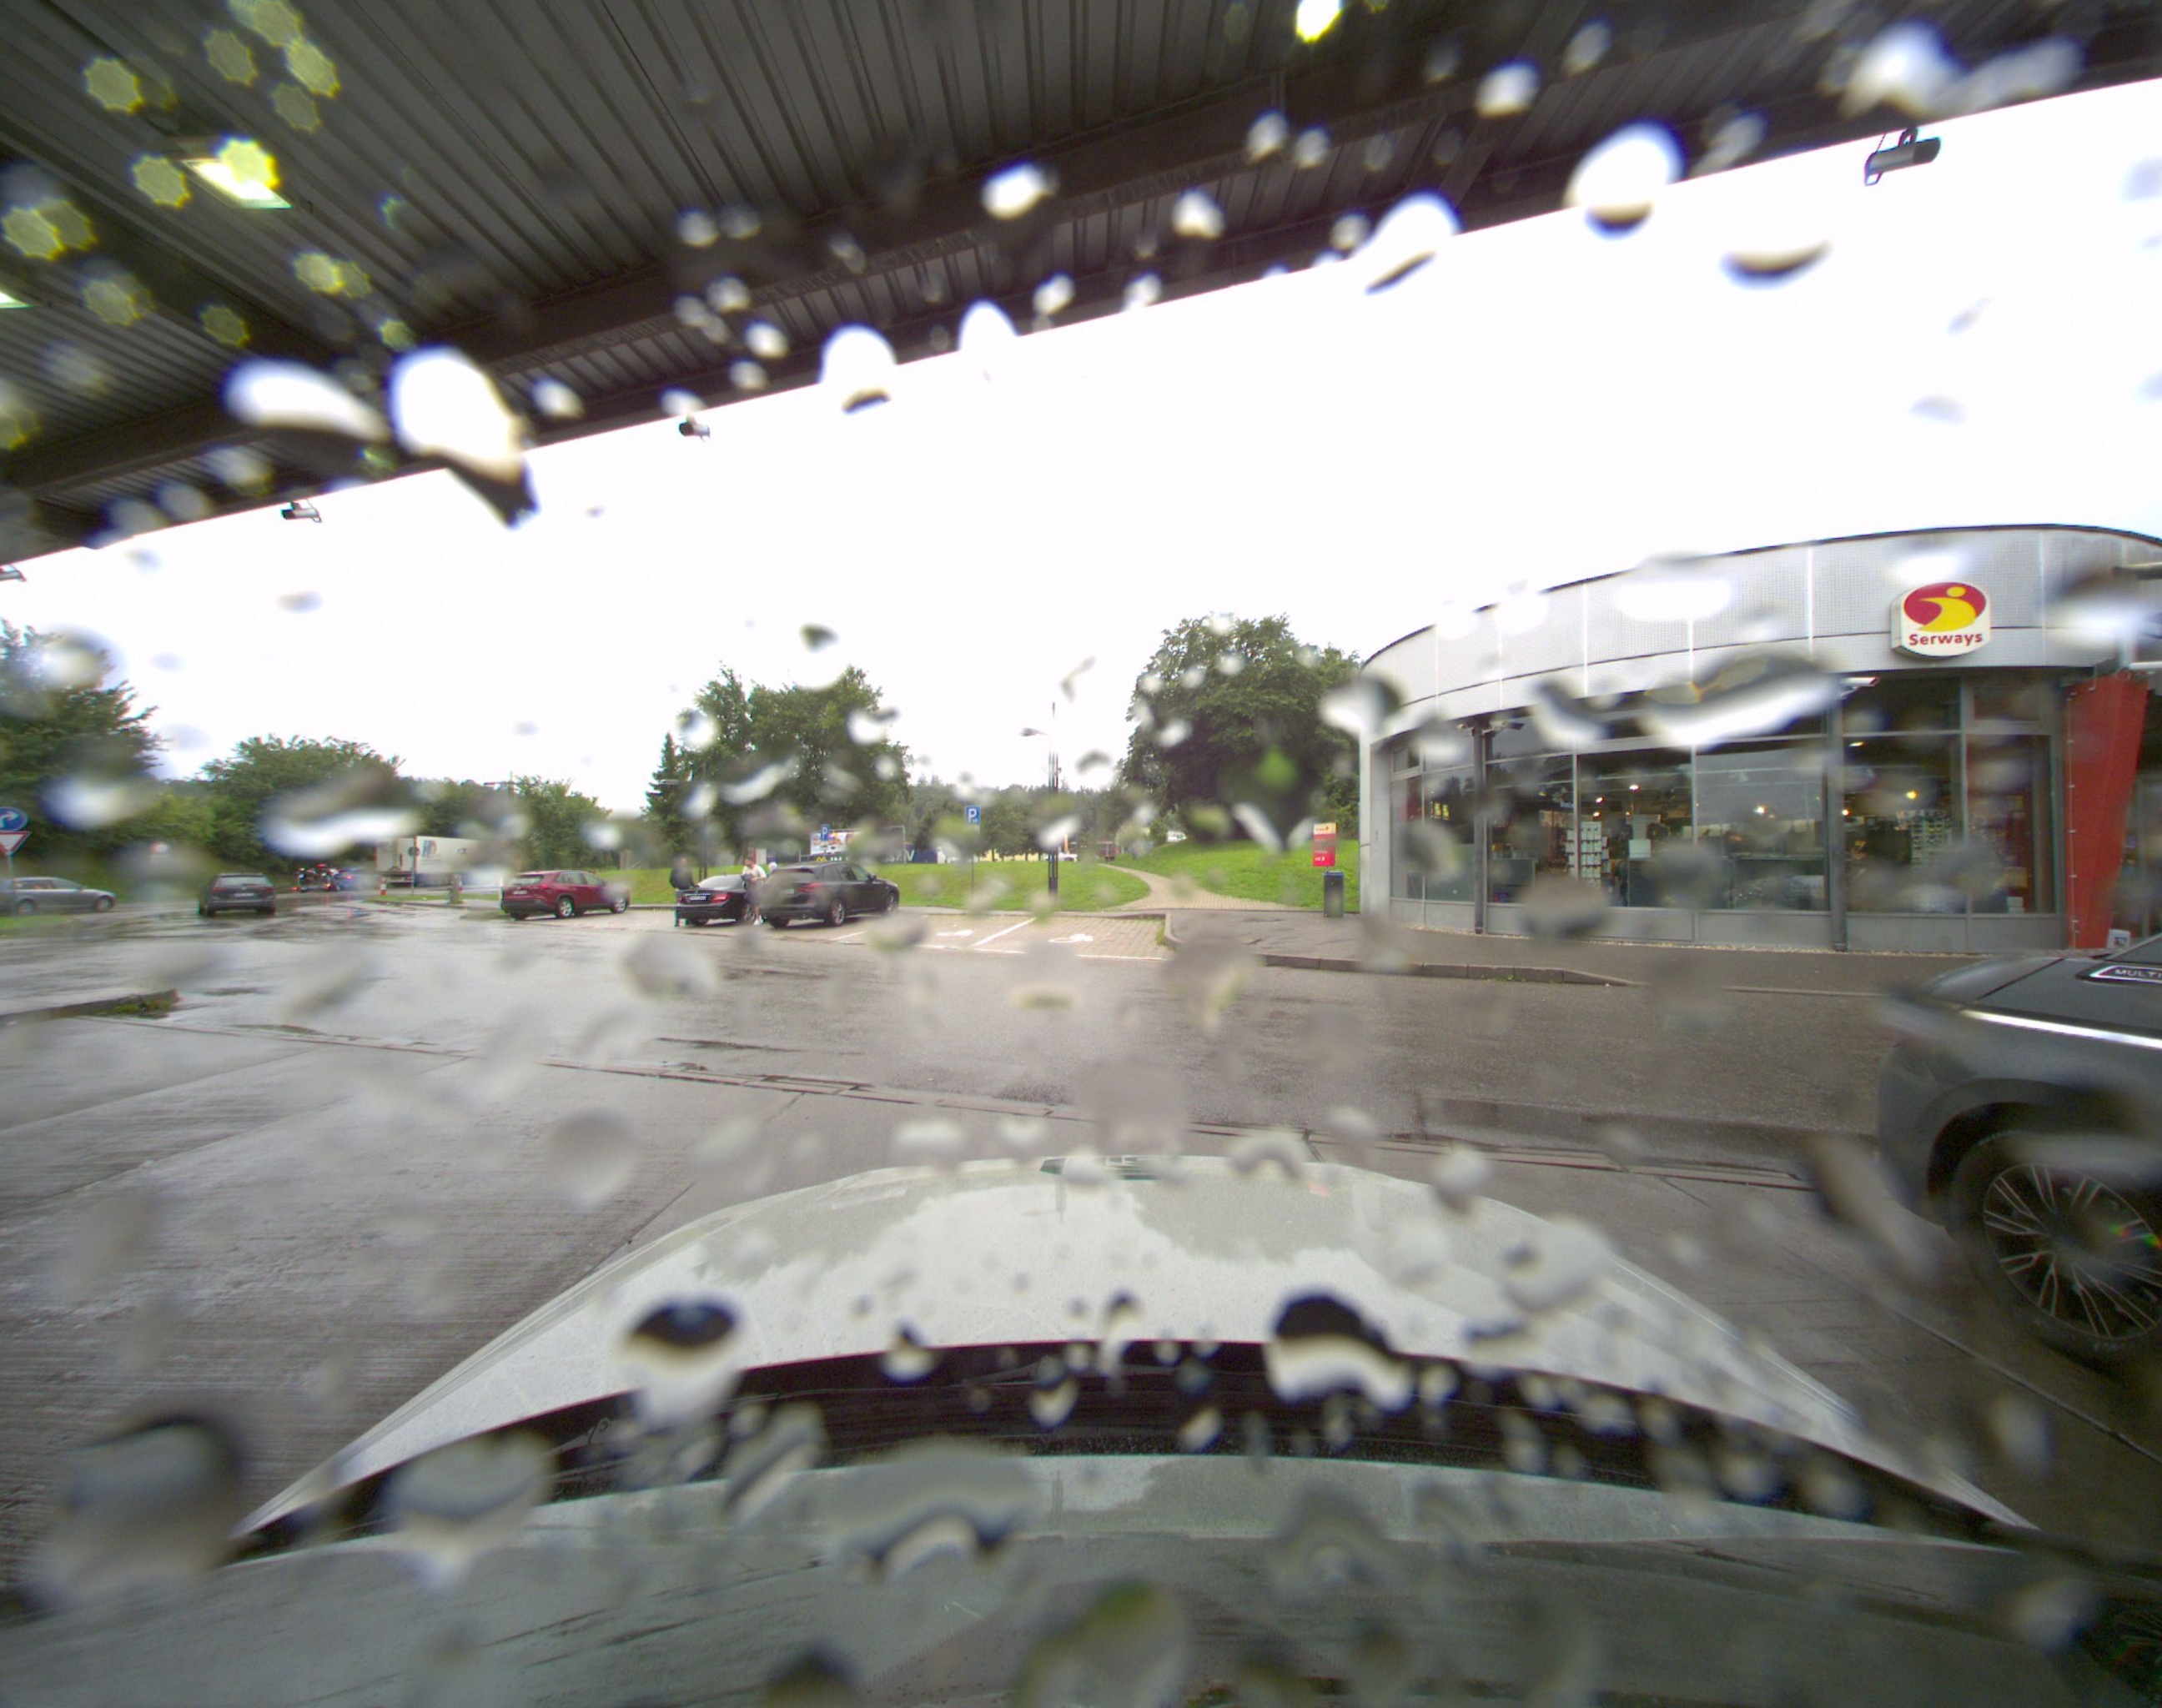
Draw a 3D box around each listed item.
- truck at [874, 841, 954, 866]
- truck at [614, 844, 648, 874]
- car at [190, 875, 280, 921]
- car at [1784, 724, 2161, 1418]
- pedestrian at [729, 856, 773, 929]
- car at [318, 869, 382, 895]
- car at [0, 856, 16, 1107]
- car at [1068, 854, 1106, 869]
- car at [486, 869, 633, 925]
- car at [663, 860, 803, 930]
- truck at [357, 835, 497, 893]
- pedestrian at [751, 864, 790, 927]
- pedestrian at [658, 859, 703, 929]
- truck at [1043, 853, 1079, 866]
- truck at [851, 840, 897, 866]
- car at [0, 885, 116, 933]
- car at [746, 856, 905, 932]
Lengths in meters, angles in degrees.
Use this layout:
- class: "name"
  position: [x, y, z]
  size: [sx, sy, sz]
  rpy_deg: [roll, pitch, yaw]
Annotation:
- class: "truck"
  position: [-20.749, -0.054, 102.352]
  size: [2.165, 2.920, 13.175]
  rpy_deg: [-1, -1, 26]
- class: "truck"
  position: [-48.017, 0.579, 86.792]
  size: [2.495, 3.085, 7.278]
  rpy_deg: [0, -1, -35]
- class: "car"
  position: [-33.151, 1.690, 31.896]
  size: [3.948, 1.678, 2.013]
  rpy_deg: [-2, -1, 37]
- class: "car"
  position: [3.681, 0.546, 0.684]
  size: [1.854, 1.798, 5.142]
  rpy_deg: [0, -1, 2]
- class: "pedestrian"
  position: [-8.816, 1.012, 21.778]
  size: [0.958, 1.887, 0.696]
  rpy_deg: [0, -1, -36]
- class: "car"
  position: [-50.339, 1.881, 56.178]
  size: [1.814, 1.681, 3.927]
  rpy_deg: [0, -1, -18]
- class: "car"
  position: [-7.961, 0.806, 2.682]
  size: [1.854, 1.608, 5.273]
  rpy_deg: [0, -1, 2]
- class: "car"
  position: [0.697, 0.887, 95.814]
  size: [4.143, 1.783, 1.829]
  rpy_deg: [0, -1, -25]
- class: "car"
  position: [-18.131, 1.444, 28.598]
  size: [1.928, 1.644, 4.352]
  rpy_deg: [-2, 0, 7]
- class: "car"
  position: [-9.829, 1.084, 23.430]
  size: [2.010, 1.711, 4.344]
  rpy_deg: [-2, 0, 1]
- class: "truck"
  position: [-55.440, 0.841, 69.982]
  size: [3.550, 4.340, 16.899]
  rpy_deg: [0, -1, -18]
- class: "pedestrian"
  position: [-8.212, 1.074, 21.554]
  size: [0.954, 1.631, 0.699]
  rpy_deg: [0, -1, -21]
- class: "pedestrian"
  position: [-11.080, 1.091, 22.548]
  size: [0.882, 1.887, 0.708]
  rpy_deg: [-1, -1, 25]
- class: "truck"
  position: [-3.245, 0.878, 134.111]
  size: [5.356, 2.014, 2.381]
  rpy_deg: [-1, -1, 26]
- class: "truck"
  position: [-24.181, -0.086, 95.461]
  size: [2.165, 2.920, 5.419]
  rpy_deg: [-1, -1, 27]
- class: "car"
  position: [-39.028, 2.017, 30.325]
  size: [1.771, 1.628, 3.986]
  rpy_deg: [-1, -1, -10]
- class: "car"
  position: [-6.643, 0.974, 21.786]
  size: [2.002, 1.711, 4.360]
  rpy_deg: [-2, 0, 14]
